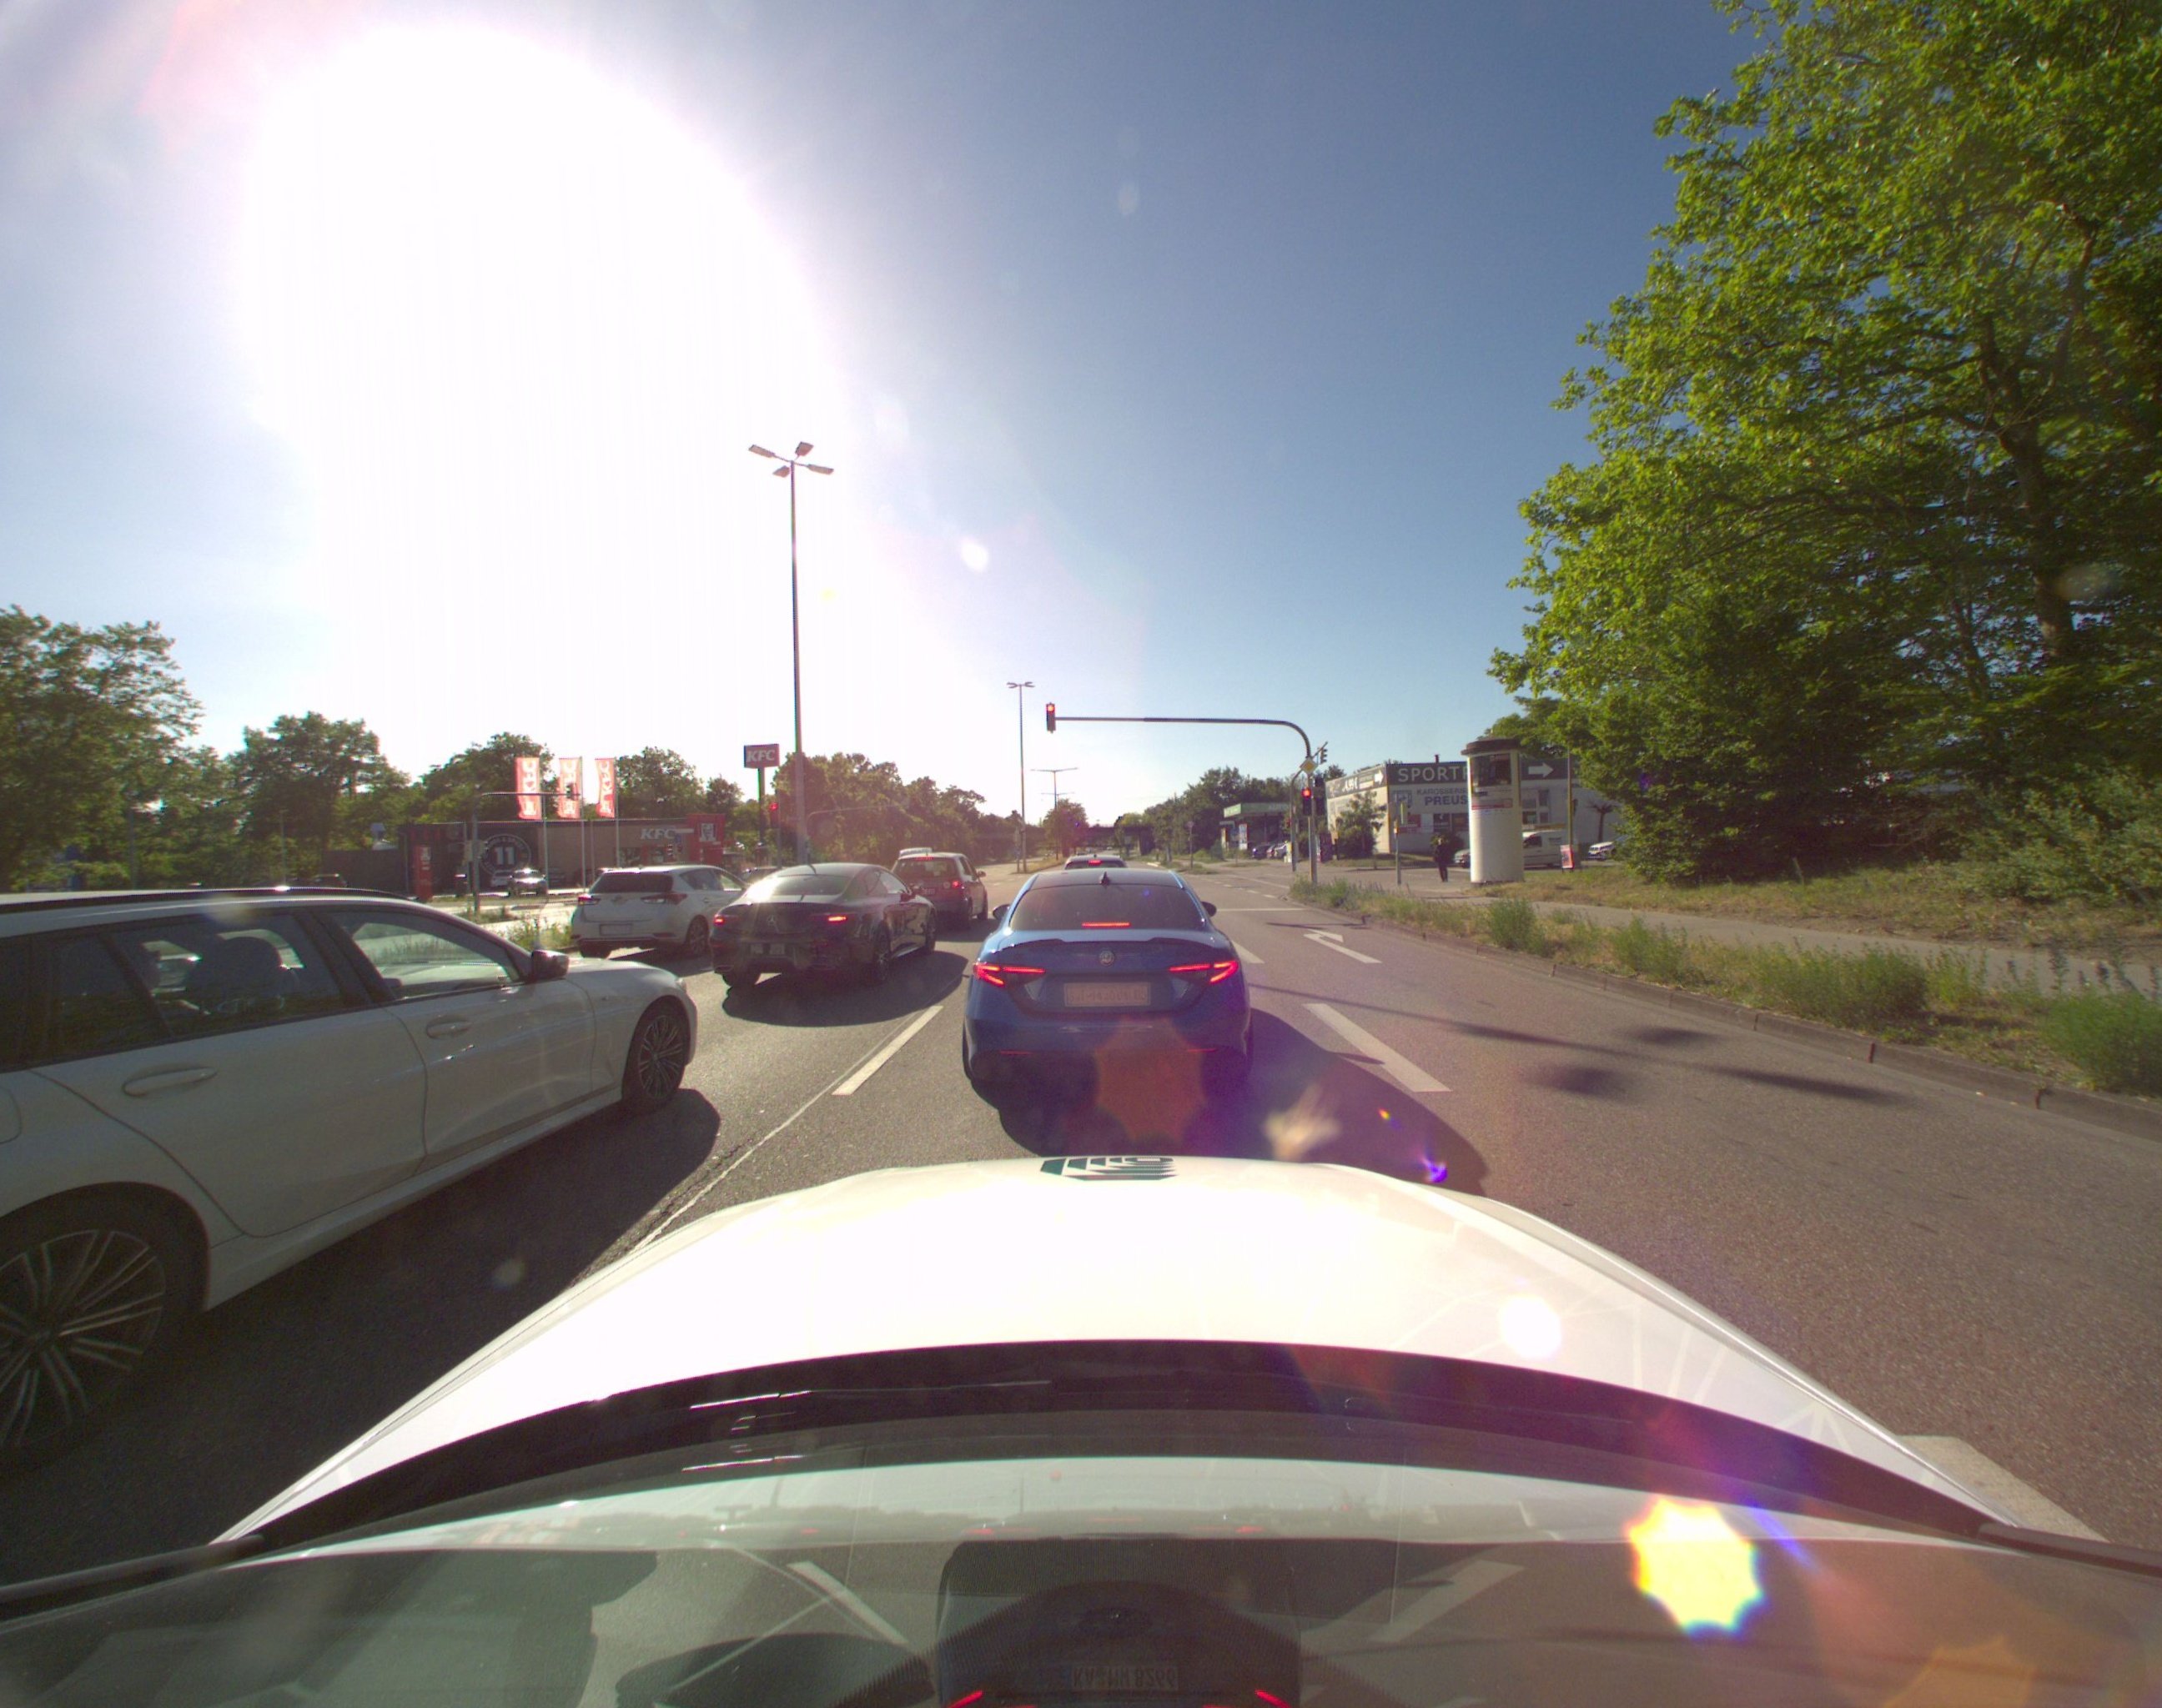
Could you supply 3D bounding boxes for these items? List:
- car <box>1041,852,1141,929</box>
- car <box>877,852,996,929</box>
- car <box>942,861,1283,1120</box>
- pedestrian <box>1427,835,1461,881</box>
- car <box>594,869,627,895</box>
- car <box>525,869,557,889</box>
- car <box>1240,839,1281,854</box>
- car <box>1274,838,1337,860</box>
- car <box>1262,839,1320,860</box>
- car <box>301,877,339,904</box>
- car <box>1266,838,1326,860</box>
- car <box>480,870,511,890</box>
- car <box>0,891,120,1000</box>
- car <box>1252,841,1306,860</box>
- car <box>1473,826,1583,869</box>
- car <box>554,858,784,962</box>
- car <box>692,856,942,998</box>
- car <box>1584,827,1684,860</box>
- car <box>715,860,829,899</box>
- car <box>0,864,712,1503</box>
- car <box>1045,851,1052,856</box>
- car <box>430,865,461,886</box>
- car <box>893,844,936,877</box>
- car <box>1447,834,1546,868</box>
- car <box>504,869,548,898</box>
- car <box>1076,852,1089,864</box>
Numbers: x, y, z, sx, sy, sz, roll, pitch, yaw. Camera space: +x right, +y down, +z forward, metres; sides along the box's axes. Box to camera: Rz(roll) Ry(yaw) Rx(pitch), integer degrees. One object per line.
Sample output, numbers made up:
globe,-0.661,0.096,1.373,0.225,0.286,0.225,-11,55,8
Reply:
car,0.217,0.701,17.375,1.844,1.418,4.403,0,0,1
car,-3.025,0.721,17.930,1.753,1.490,4.403,0,-1,1
car,0.208,0.779,6.732,1.889,1.418,4.403,0,0,1
pedestrian,14.154,0.156,31.764,0.922,1.735,0.939,0,-1,1
car,-33.672,1.942,58.354,1.920,1.752,4.315,0,-1,-29
car,-43.151,1.966,65.072,1.670,1.471,3.872,0,-1,-40
car,21.379,-0.869,97.034,4.532,1.490,1.766,-4,0,3
car,17.698,-0.414,64.341,4.470,1.454,1.860,-4,0,3
car,17.980,-0.372,69.871,4.470,1.454,1.860,-4,0,3
car,-52.376,2.473,56.107,1.670,1.673,3.897,0,-1,-40
car,17.703,-0.401,67.122,4.470,1.454,1.860,-4,0,3
car,-45.643,2.034,63.418,1.670,1.471,3.872,0,-1,-40
car,-15.464,1.309,10.153,1.722,1.409,4.306,-4,0,1
car,17.939,-0.343,73.925,4.470,1.454,1.860,-4,0,3
car,21.565,-0.328,39.398,4.367,1.801,1.765,-3,1,0
car,-6.756,0.828,13.943,1.753,1.490,4.197,0,-1,1
car,-3.170,0.786,10.827,1.790,1.490,4.476,0,-1,1
car,28.995,-0.529,42.763,4.028,1.490,1.782,-3,0,-1
car,-14.005,1.145,37.069,4.392,1.490,1.766,-4,0,3
car,-3.426,0.805,3.322,1.779,1.490,4.403,0,-1,1
car,-9.050,-0.106,227.241,1.752,1.490,4.480,-3,0,2
car,-47.643,1.573,61.002,1.670,1.471,3.872,0,-1,-40
car,-13.670,0.530,67.238,2.015,2.447,5.823,-5,0,1
car,21.764,-0.189,42.733,4.273,1.549,1.765,-3,1,0
car,-37.341,1.947,54.874,2.005,1.765,4.315,0,-1,-29
car,0.309,0.652,126.199,1.884,1.816,4.001,0,-1,2
